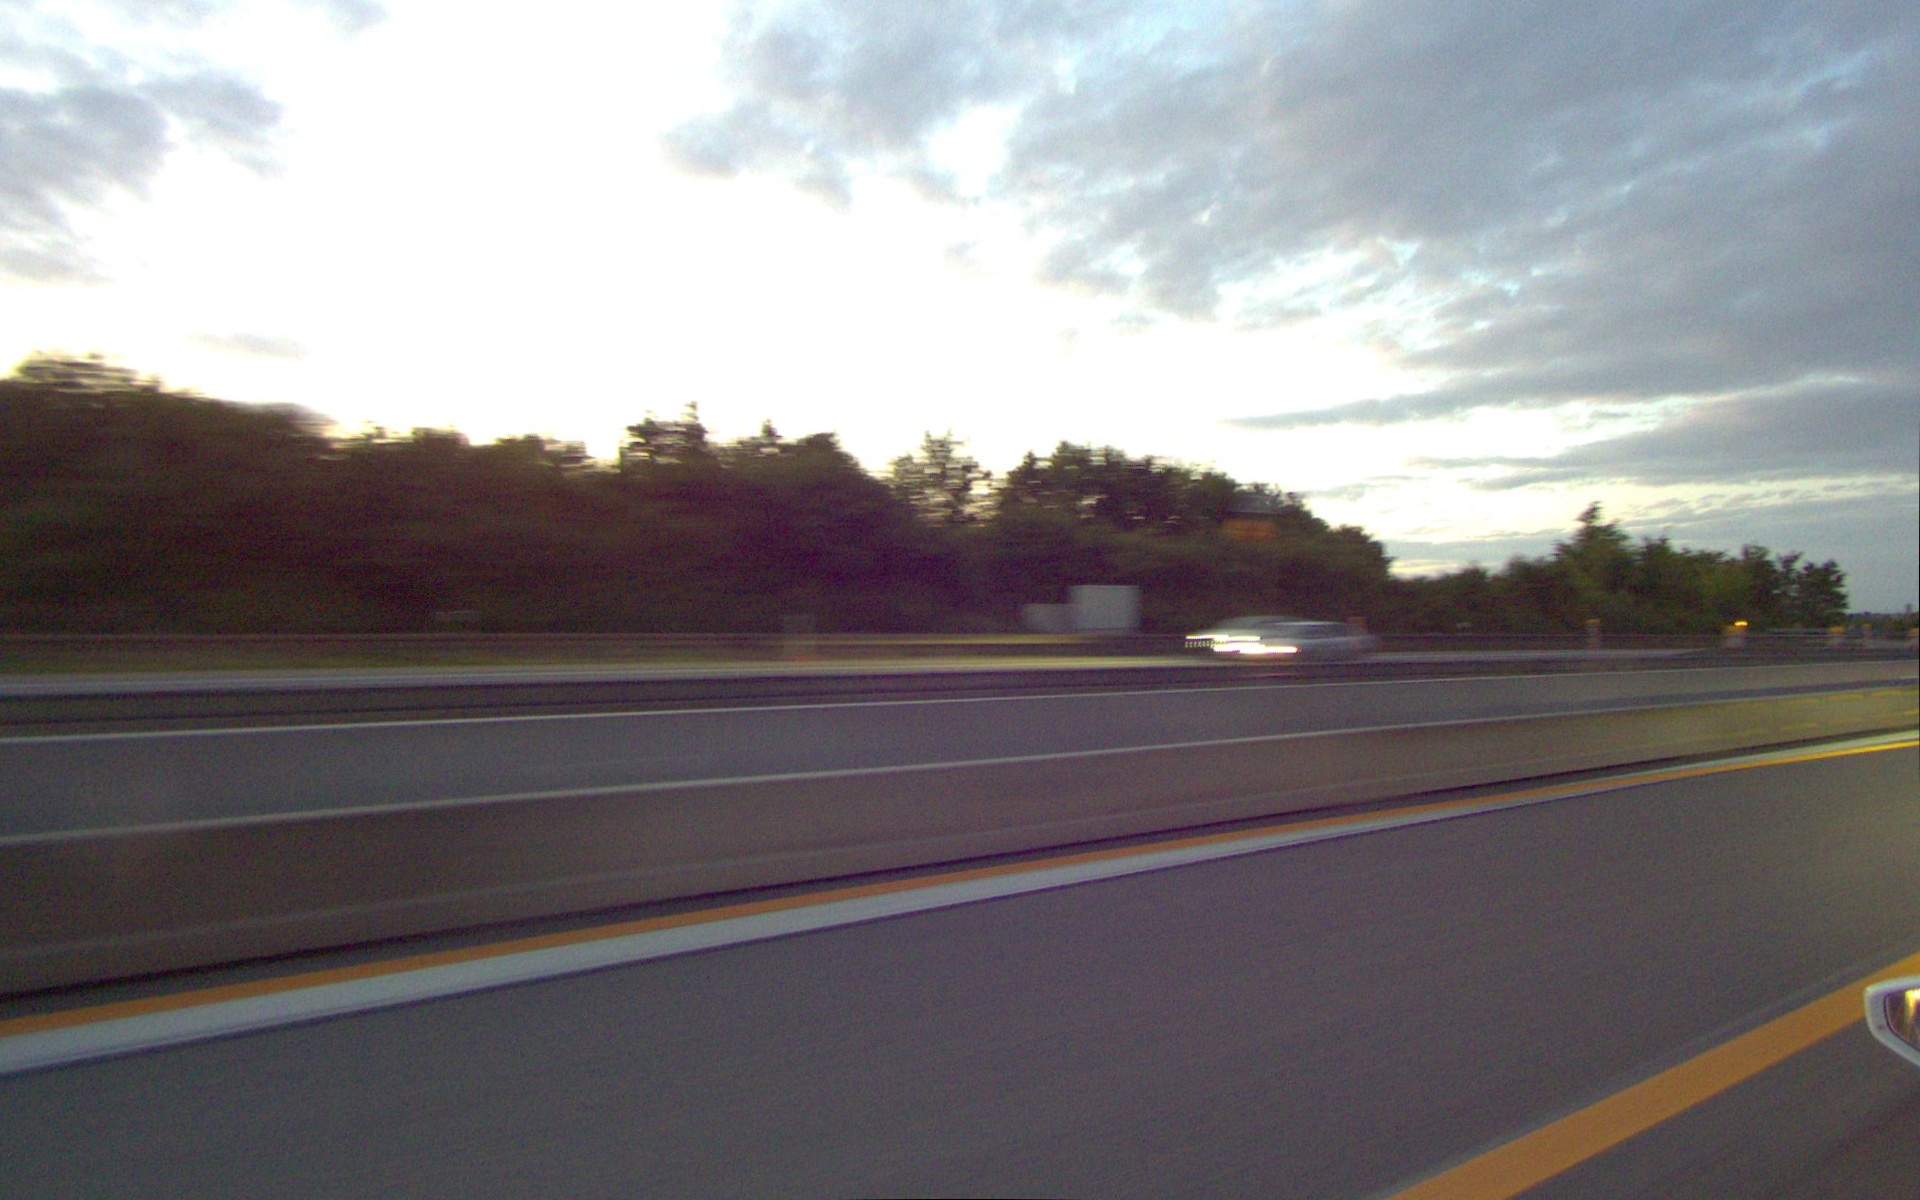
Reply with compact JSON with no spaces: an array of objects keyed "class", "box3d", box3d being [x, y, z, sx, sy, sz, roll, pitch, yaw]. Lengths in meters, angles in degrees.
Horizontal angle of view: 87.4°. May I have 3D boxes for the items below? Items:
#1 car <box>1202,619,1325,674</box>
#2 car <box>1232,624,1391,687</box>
[{"class":"car","box3d":[10.457,1.587,34.598,3.896,1.737,1.898,2,0,-30]},{"class":"car","box3d":[10.548,1.639,30.010,4.786,1.683,1.821,2,0,-31]}]
